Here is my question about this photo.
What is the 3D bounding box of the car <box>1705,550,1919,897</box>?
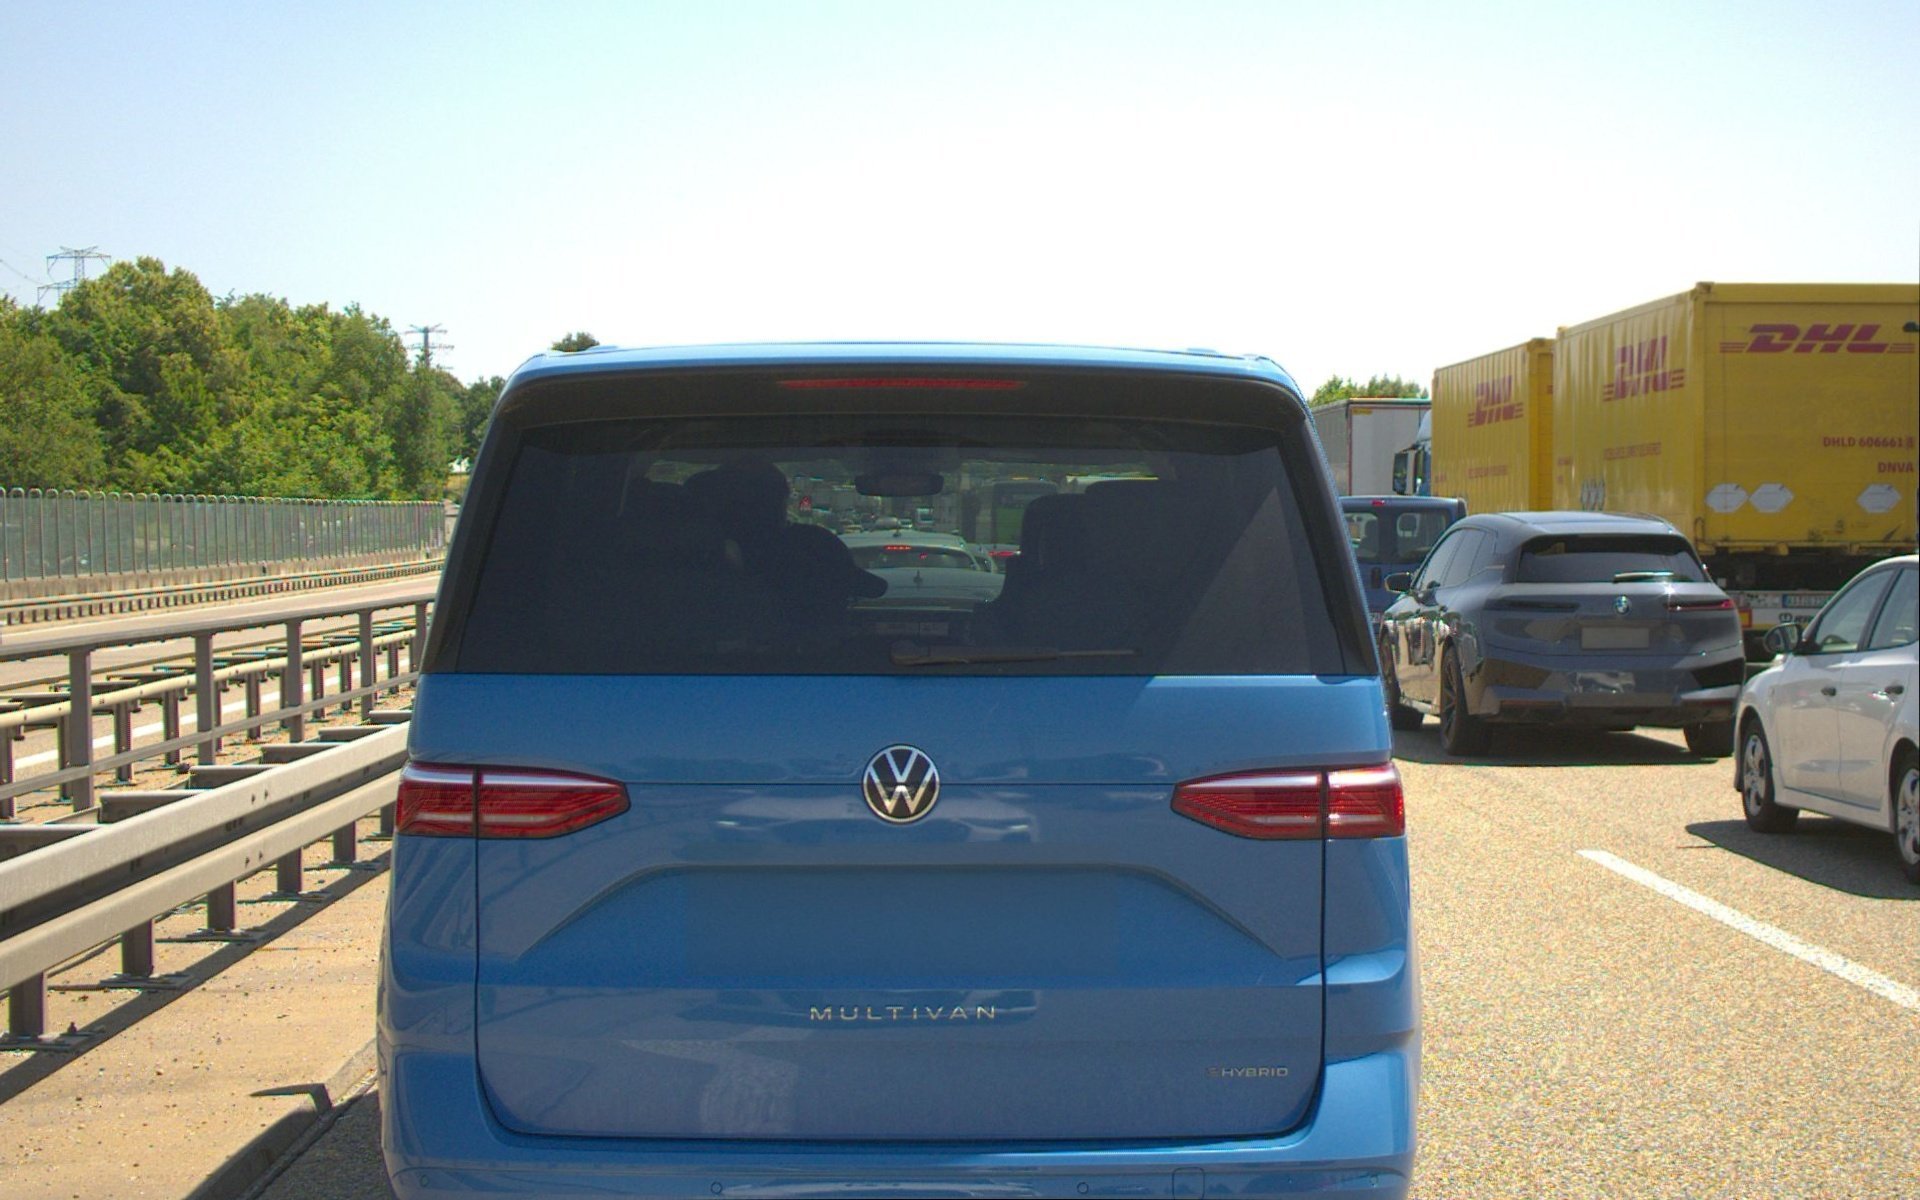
[{"bbox_3d":[4.947,0.498,16.448,1.788,1.450,4.293,0,1,-1],"label":"car"}]

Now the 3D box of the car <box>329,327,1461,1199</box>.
[{"bbox_3d":[-0.126,0.462,7.618,1.820,1.851,4.075,1,1,-1],"label":"car"}]

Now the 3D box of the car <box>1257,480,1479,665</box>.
[{"bbox_3d":[4.579,-0.335,39.144,1.962,1.986,4.293,0,1,-1],"label":"car"}]

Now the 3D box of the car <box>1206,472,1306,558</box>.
[{"bbox_3d":[7.113,-2.032,82.890,1.993,2.007,4.000,1,1,-1],"label":"car"}]

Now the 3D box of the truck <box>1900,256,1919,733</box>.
[{"bbox_3d":[8.738,-0.704,21.239,2.656,3.635,11.011,0,1,-1],"label":"truck"}]

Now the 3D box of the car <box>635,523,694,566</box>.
[{"bbox_3d":[-11.631,-2.206,135.396,1.867,1.526,4.425,-4,1,0],"label":"car"}]

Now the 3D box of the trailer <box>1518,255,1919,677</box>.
[{"bbox_3d":[8.598,-1.403,39.178,2.864,4.224,9.012,1,1,-1],"label":"trailer"}]

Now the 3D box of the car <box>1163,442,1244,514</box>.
[{"bbox_3d":[7.086,-3.543,100.462,1.993,2.007,4.461,-1,1,0],"label":"car"}]

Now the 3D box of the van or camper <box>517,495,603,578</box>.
[{"bbox_3d":[-15.396,-2.461,132.681,2.422,3.013,7.027,-2,1,0],"label":"van or camper"}]

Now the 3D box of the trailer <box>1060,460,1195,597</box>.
[{"bbox_3d":[3.844,-1.644,80.986,2.569,2.980,10.663,1,1,0],"label":"trailer"}]

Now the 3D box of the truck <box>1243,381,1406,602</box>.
[{"bbox_3d":[7.725,-2.259,73.683,2.667,4.469,6.850,1,1,0],"label":"truck"}]

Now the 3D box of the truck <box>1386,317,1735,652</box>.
[{"bbox_3d":[8.322,-1.558,49.264,2.836,4.228,11.011,1,1,-1],"label":"truck"}]

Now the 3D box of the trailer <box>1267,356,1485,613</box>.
[{"bbox_3d":[7.831,-2.144,66.211,2.637,4.501,11.302,1,1,-1],"label":"trailer"}]

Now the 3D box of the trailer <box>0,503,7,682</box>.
[{"bbox_3d":[-13.104,-0.151,39.329,2.493,2.540,6.774,-2,1,0],"label":"trailer"}]

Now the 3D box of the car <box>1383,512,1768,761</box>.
[{"bbox_3d":[4.329,0.198,24.858,1.962,1.639,4.293,0,1,-1],"label":"car"}]

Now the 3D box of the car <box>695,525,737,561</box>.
[{"bbox_3d":[-12.525,-2.925,176.392,1.867,1.694,4.431,-3,2,-1],"label":"car"}]

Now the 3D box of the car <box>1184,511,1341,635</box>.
[{"bbox_3d":[4.536,-0.432,52.067,1.993,1.809,4.000,0,1,-1],"label":"car"}]
